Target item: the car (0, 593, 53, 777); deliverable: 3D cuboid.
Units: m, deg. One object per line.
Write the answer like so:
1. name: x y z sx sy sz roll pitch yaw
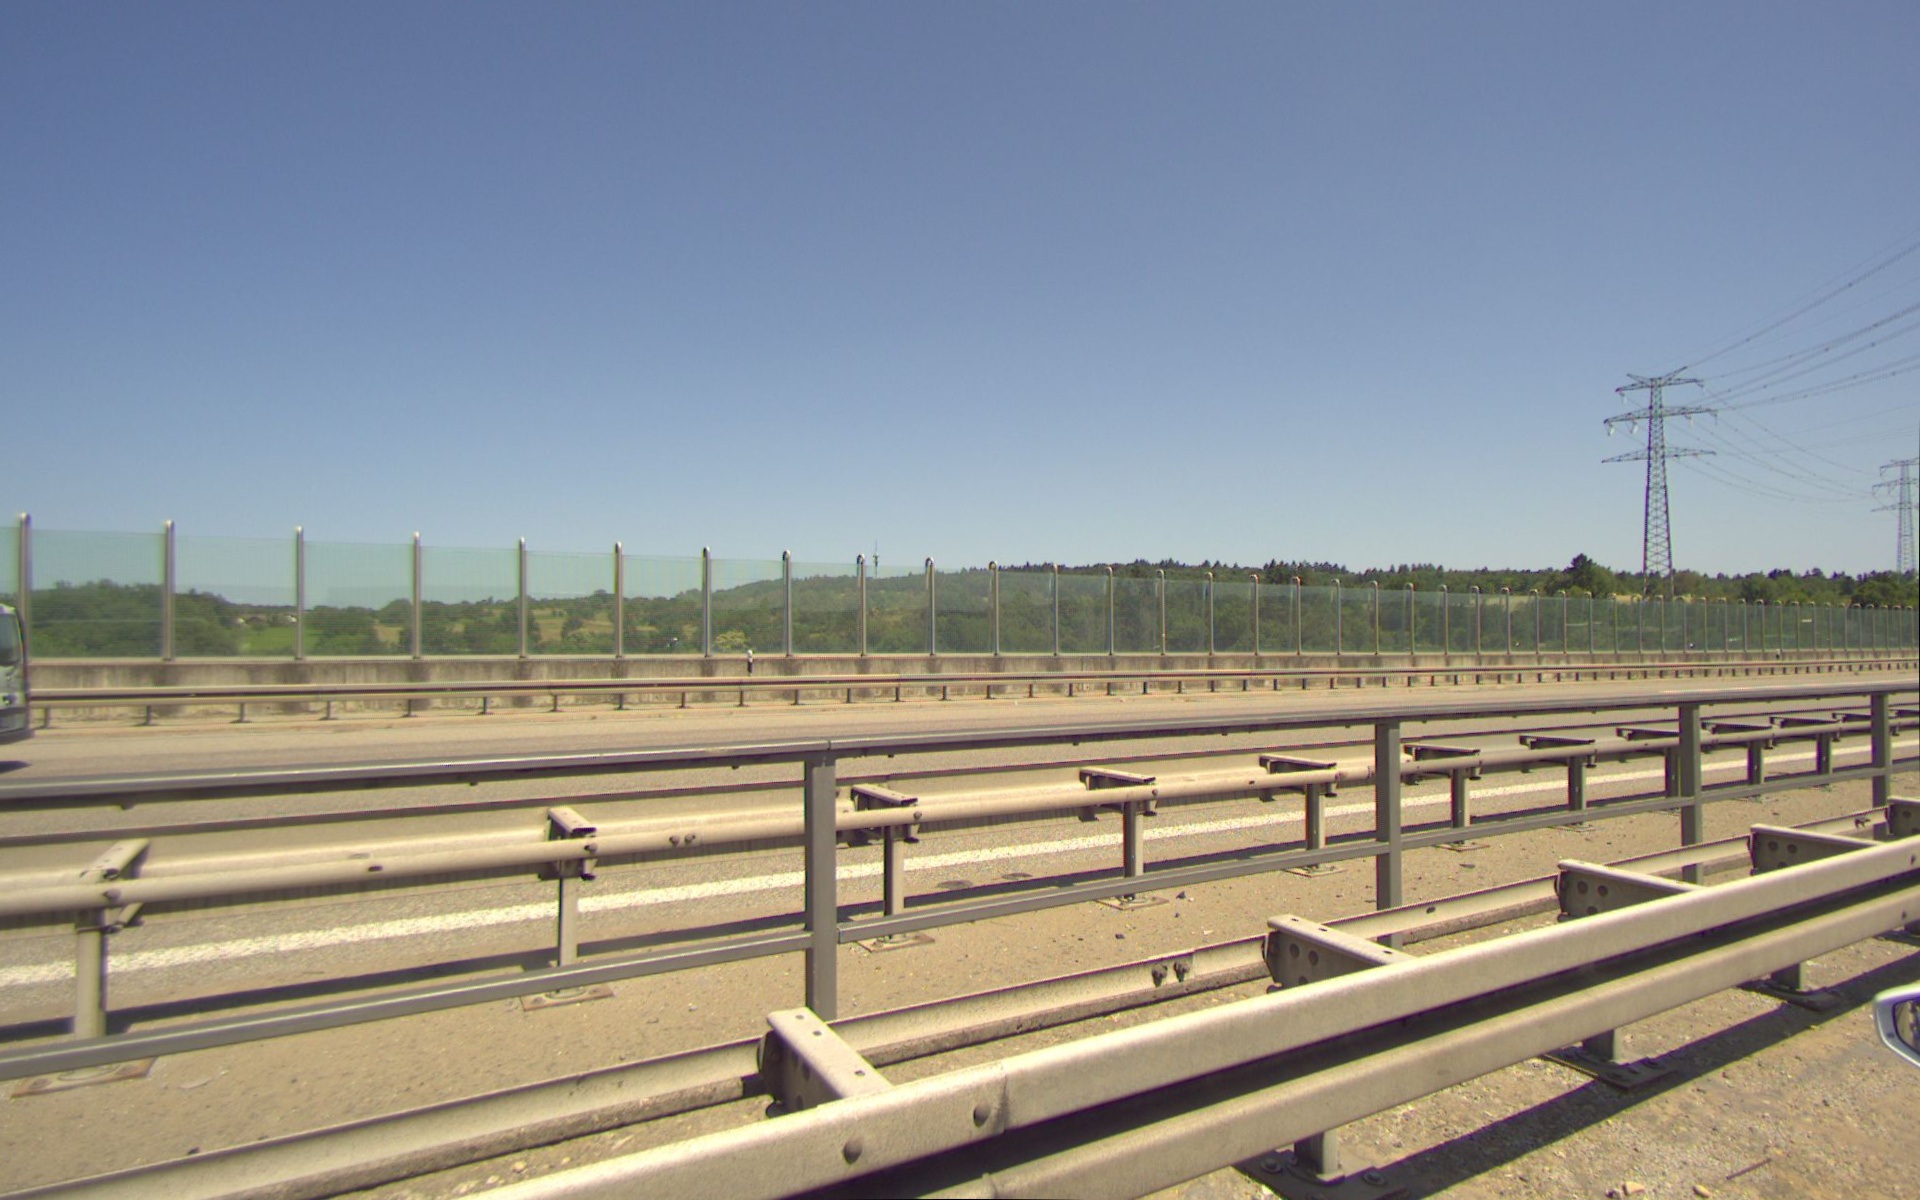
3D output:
1. car: -12.815 0.937 10.579 4.437 2.009 2.026 1 -4 -30
